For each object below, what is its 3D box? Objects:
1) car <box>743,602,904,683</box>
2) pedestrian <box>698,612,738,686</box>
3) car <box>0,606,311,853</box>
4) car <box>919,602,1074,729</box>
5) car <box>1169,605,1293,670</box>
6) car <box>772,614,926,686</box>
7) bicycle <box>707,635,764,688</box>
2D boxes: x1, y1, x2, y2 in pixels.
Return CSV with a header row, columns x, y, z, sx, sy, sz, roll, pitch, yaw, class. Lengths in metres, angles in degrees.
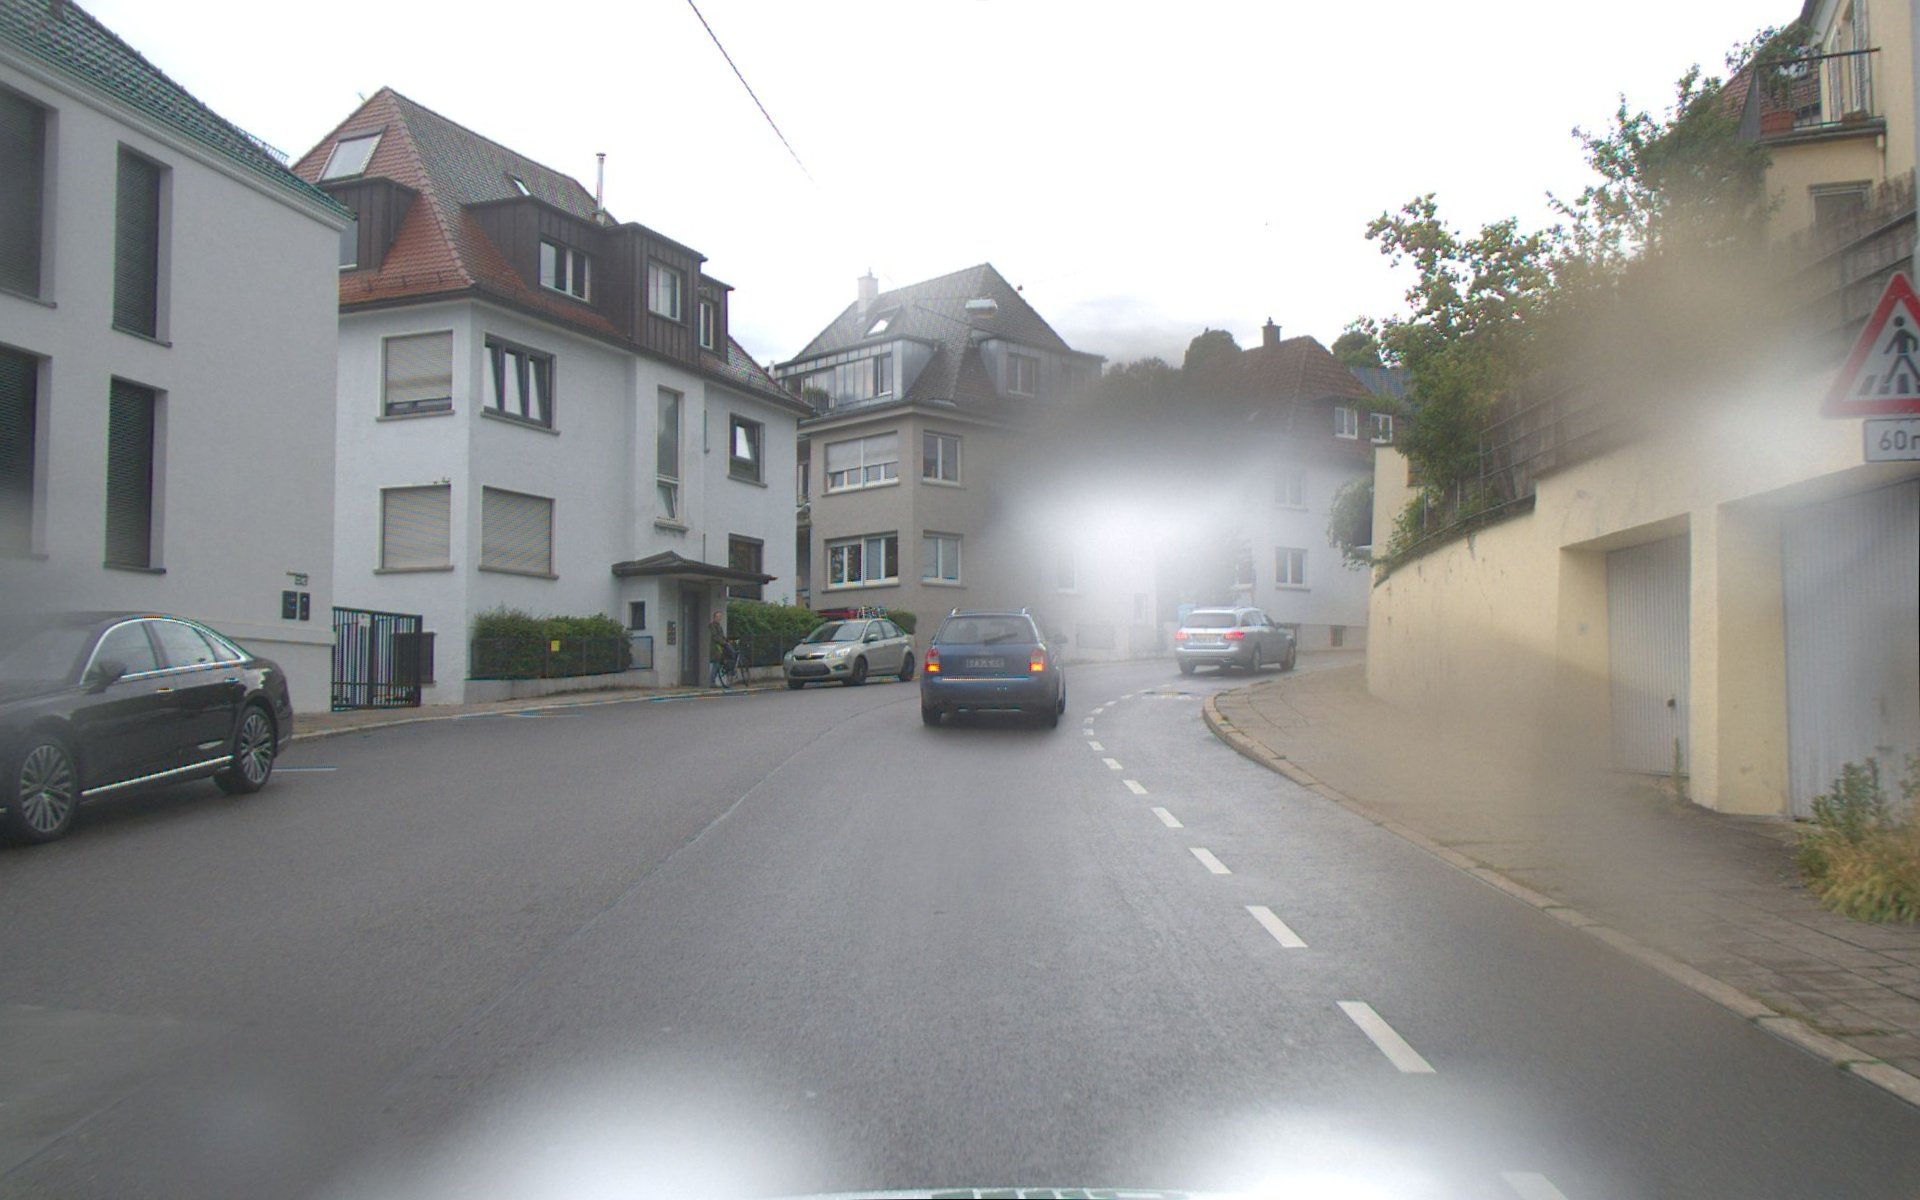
x,y,z,sx,sy,sz,roll,pitch,yaw,class
-3.828,1.191,46.225,3.911,1.854,1.997,-7,-3,28,car
-5.369,1.073,36.717,0.482,1.605,0.948,-1,-1,18,pedestrian
-6.728,0.844,12.155,1.791,1.512,4.992,-1,-1,2,car
0.575,0.780,21.657,1.773,1.464,4.083,1,0,5,car
6.215,0.864,37.607,1.775,1.384,3.996,0,-2,25,car
-2.447,1.101,37.525,1.798,1.450,4.229,-3,-1,21,car
-4.946,1.348,36.518,0.446,1.086,1.922,-1,0,18,bicycle
